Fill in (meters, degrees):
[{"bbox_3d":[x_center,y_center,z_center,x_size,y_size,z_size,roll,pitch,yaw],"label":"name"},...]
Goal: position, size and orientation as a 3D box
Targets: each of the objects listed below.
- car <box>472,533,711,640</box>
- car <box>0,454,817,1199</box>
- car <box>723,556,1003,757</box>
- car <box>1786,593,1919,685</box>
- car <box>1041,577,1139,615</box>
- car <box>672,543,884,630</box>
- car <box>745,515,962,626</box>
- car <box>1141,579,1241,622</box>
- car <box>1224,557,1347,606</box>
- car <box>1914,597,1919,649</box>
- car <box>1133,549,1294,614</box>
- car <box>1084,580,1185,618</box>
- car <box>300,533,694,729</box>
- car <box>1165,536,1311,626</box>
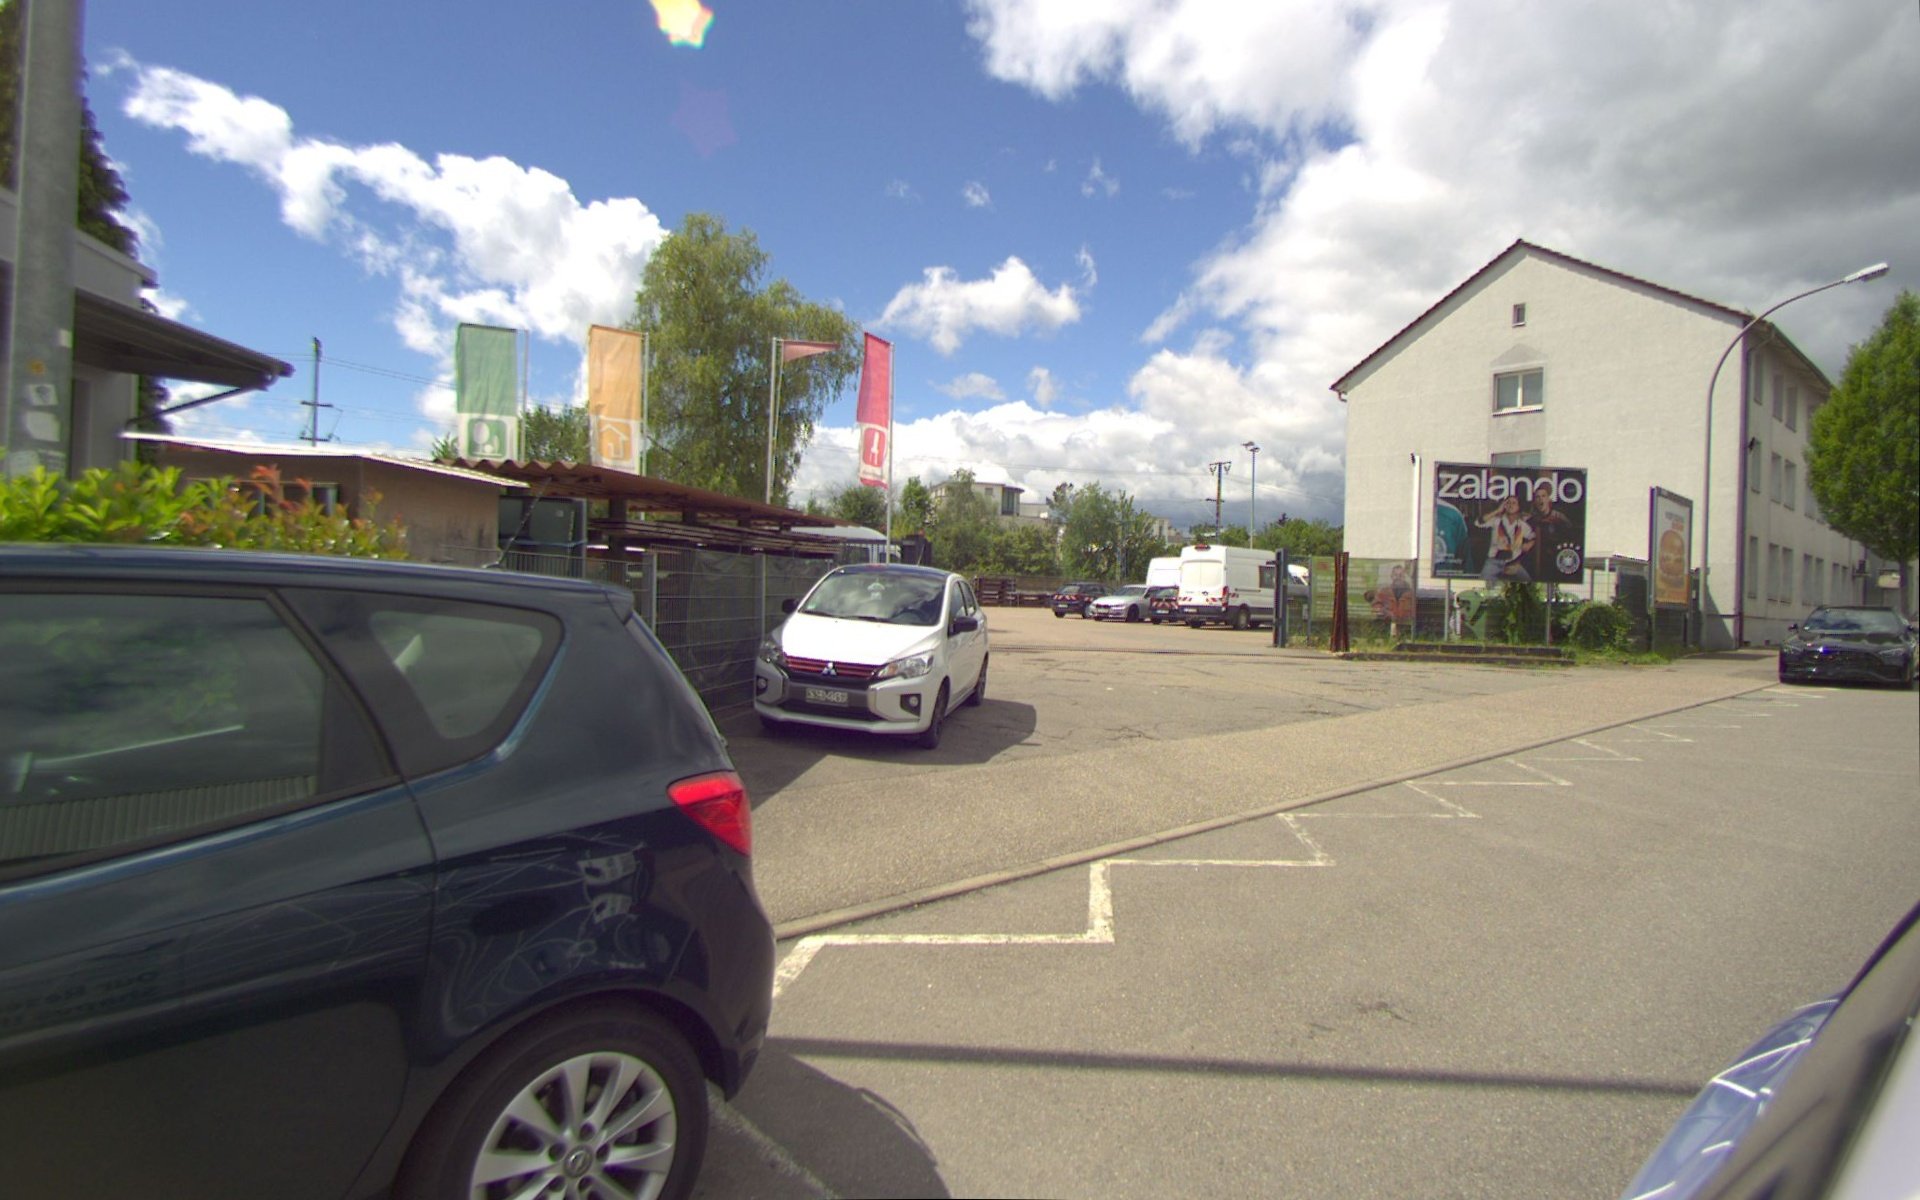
[{"bbox_3d":[-6.987,-0.279,19.499,3.963,1.894,1.819,1,2,-2],"label":"car"},{"bbox_3d":[-2.427,0.602,1.759,4.049,1.658,1.683,0,1,-40],"label":"car"},{"bbox_3d":[-0.713,0.351,10.074,1.698,1.480,4.065,3,3,10],"label":"car"},{"bbox_3d":[17.186,0.641,19.146,4.628,1.484,1.793,-1,1,-43],"label":"car"},{"bbox_3d":[5.330,-0.203,41.178,3.931,1.380,1.811,-2,2,-41],"label":"car"},{"bbox_3d":[-4.534,-0.360,25.661,5.003,2.006,1.834,2,2,2],"label":"car"},{"bbox_3d":[-2.940,-0.846,28.782,5.864,2.879,2.066,1,2,2],"label":"car"},{"bbox_3d":[8.413,-0.036,36.770,3.802,1.407,1.628,-2,2,-41],"label":"car"},{"bbox_3d":[14.454,-0.865,45.179,1.966,2.060,4.958,-2,2,-42],"label":"car"},{"bbox_3d":[29.225,0.684,29.431,4.186,1.491,1.738,1,0,-41],"label":"car"},{"bbox_3d":[10.345,-0.807,41.724,2.239,2.481,6.165,-2,2,-45],"label":"car"},{"bbox_3d":[6.693,-0.068,38.616,3.931,1.303,1.750,-2,2,-41],"label":"car"},{"bbox_3d":[-4.422,0.158,10.438,1.661,1.523,4.065,3,3,10],"label":"car"},{"bbox_3d":[9.537,-0.705,34.472,5.364,2.802,2.279,-2,2,-42],"label":"car"}]
